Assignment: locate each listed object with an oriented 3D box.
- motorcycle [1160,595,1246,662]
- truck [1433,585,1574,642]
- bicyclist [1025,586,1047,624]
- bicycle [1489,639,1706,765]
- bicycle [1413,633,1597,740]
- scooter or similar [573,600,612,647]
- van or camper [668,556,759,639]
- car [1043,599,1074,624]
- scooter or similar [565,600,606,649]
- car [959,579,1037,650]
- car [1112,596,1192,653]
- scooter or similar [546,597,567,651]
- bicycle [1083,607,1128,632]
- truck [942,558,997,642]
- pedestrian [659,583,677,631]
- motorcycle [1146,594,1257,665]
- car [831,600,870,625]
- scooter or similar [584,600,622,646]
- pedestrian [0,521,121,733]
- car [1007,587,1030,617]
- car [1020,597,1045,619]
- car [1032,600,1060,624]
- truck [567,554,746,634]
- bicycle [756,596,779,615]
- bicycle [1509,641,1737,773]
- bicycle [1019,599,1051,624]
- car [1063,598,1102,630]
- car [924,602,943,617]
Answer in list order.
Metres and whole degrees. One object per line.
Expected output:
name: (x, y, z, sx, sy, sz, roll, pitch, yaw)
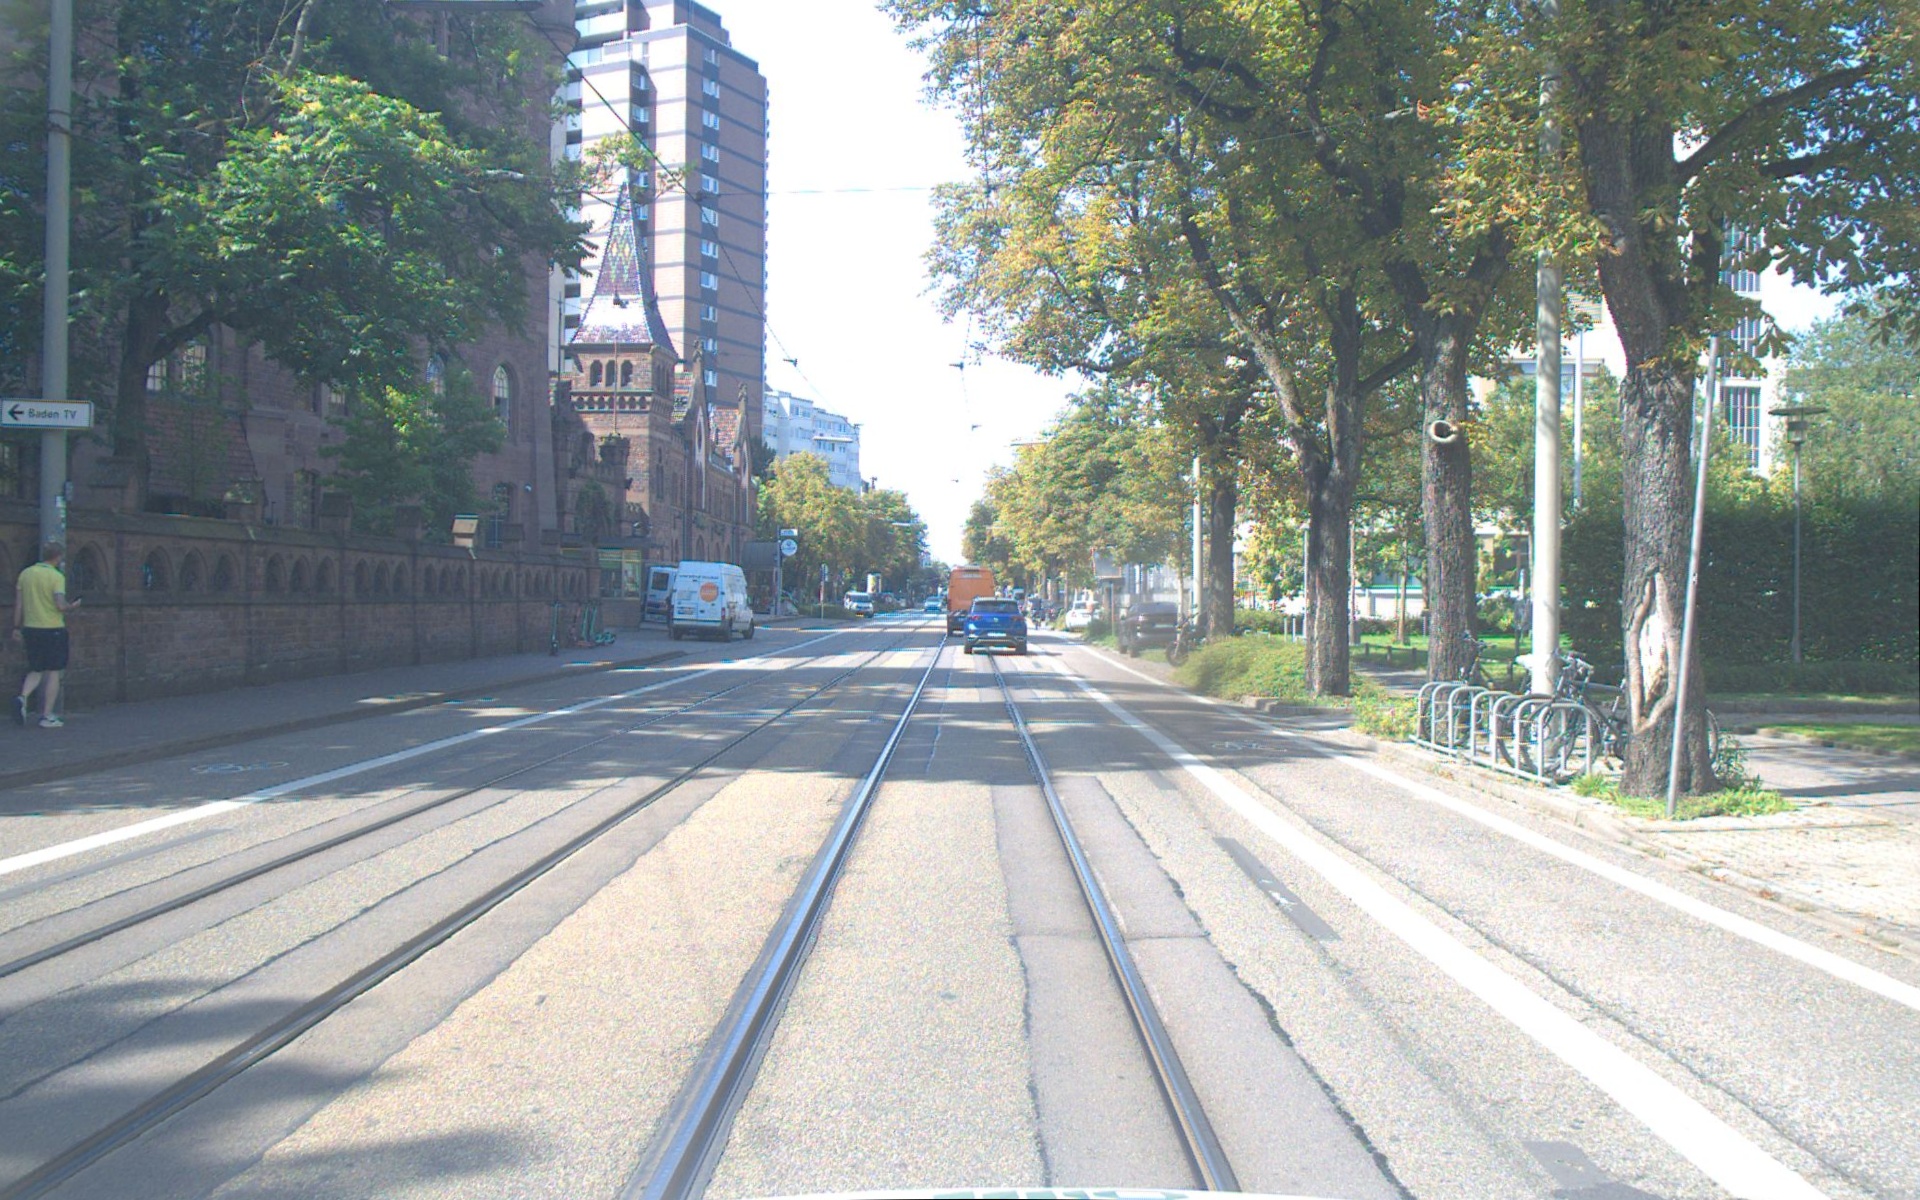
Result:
motorcycle: (5.769, 0.662, 39.456, 0.839, 1.542, 2.437, 1, 0, -24)
truck: (23.595, 0.559, 71.982, 5.393, 2.366, 2.299, 1, 0, 1)
bicyclist: (3.712, 0.257, 81.248, 1.010, 1.844, 1.016, 1, 0, 0)
bicycle: (5.691, 0.901, 14.803, 1.735, 1.068, 0.540, 0, 0, -1)
bicycle: (5.682, 0.898, 17.282, 1.735, 1.068, 0.540, 0, 0, -1)
scooter or similar: (-9.551, 0.611, 43.031, 0.333, 1.199, 1.177, 1, 0, 25)
van or camper: (-8.528, -0.097, 57.726, 2.069, 2.722, 5.956, 1, 0, 2)
car: (5.783, 0.686, 97.686, 1.625, 1.432, 4.217, 0, 0, 1)
scooter or similar: (-9.468, 0.614, 41.858, 0.333, 1.199, 1.177, 1, 0, 25)
car: (1.051, 0.395, 47.444, 2.092, 1.891, 5.568, 0, 0, 0)
car: (5.571, 0.685, 48.422, 1.720, 1.542, 4.608, -1, 0, -1)
scooter or similar: (-9.160, 0.532, 37.557, 0.413, 1.199, 1.311, 1, 0, -15)
bicycle: (5.848, 0.801, 66.544, 1.775, 0.975, 0.558, 1, 0, 0)
truck: (0.394, -0.005, 66.342, 2.092, 3.179, 6.085, 0, 0, 0)
pedestrian: (-10.083, 0.241, 57.098, 0.487, 1.627, 0.552, 1, 0, 1)
motorcycle: (5.501, 0.660, 37.756, 2.408, 1.542, 0.849, 1, 0, 39)
car: (-8.361, 0.966, 126.008, 1.724, 1.828, 3.969, 1, 0, -24)
scooter or similar: (-9.531, 0.610, 44.165, 0.333, 1.199, 1.177, 1, 0, 25)
pedestrian: (-9.084, 0.259, 16.551, 0.846, 2.049, 0.983, 1, 0, -2)
car: (5.792, 0.190, 163.545, 1.953, 2.804, 5.760, 1, 0, -1)
car: (5.791, 0.649, 132.429, 1.705, 1.697, 4.361, 1, 0, -1)
car: (5.651, 0.794, 109.236, 1.707, 1.583, 4.217, 0, 0, 1)
truck: (-11.427, -0.238, 62.577, 6.188, 2.582, 2.132, 4, 1, 5)
bicycle: (-12.284, 0.338, 105.535, 1.422, 1.112, 0.399, 4, -1, -4)
bicycle: (5.645, 0.902, 14.125, 1.735, 1.068, 0.540, 0, 0, -1)
bicycle: (3.673, 0.545, 81.236, 1.373, 1.154, 4.000, 0, 0, 0)
car: (5.861, 0.671, 79.303, 1.625, 1.507, 4.217, 0, 0, 1)
car: (-2.807, 0.982, 175.047, 1.809, 1.518, 4.868, -1, 0, 1)
